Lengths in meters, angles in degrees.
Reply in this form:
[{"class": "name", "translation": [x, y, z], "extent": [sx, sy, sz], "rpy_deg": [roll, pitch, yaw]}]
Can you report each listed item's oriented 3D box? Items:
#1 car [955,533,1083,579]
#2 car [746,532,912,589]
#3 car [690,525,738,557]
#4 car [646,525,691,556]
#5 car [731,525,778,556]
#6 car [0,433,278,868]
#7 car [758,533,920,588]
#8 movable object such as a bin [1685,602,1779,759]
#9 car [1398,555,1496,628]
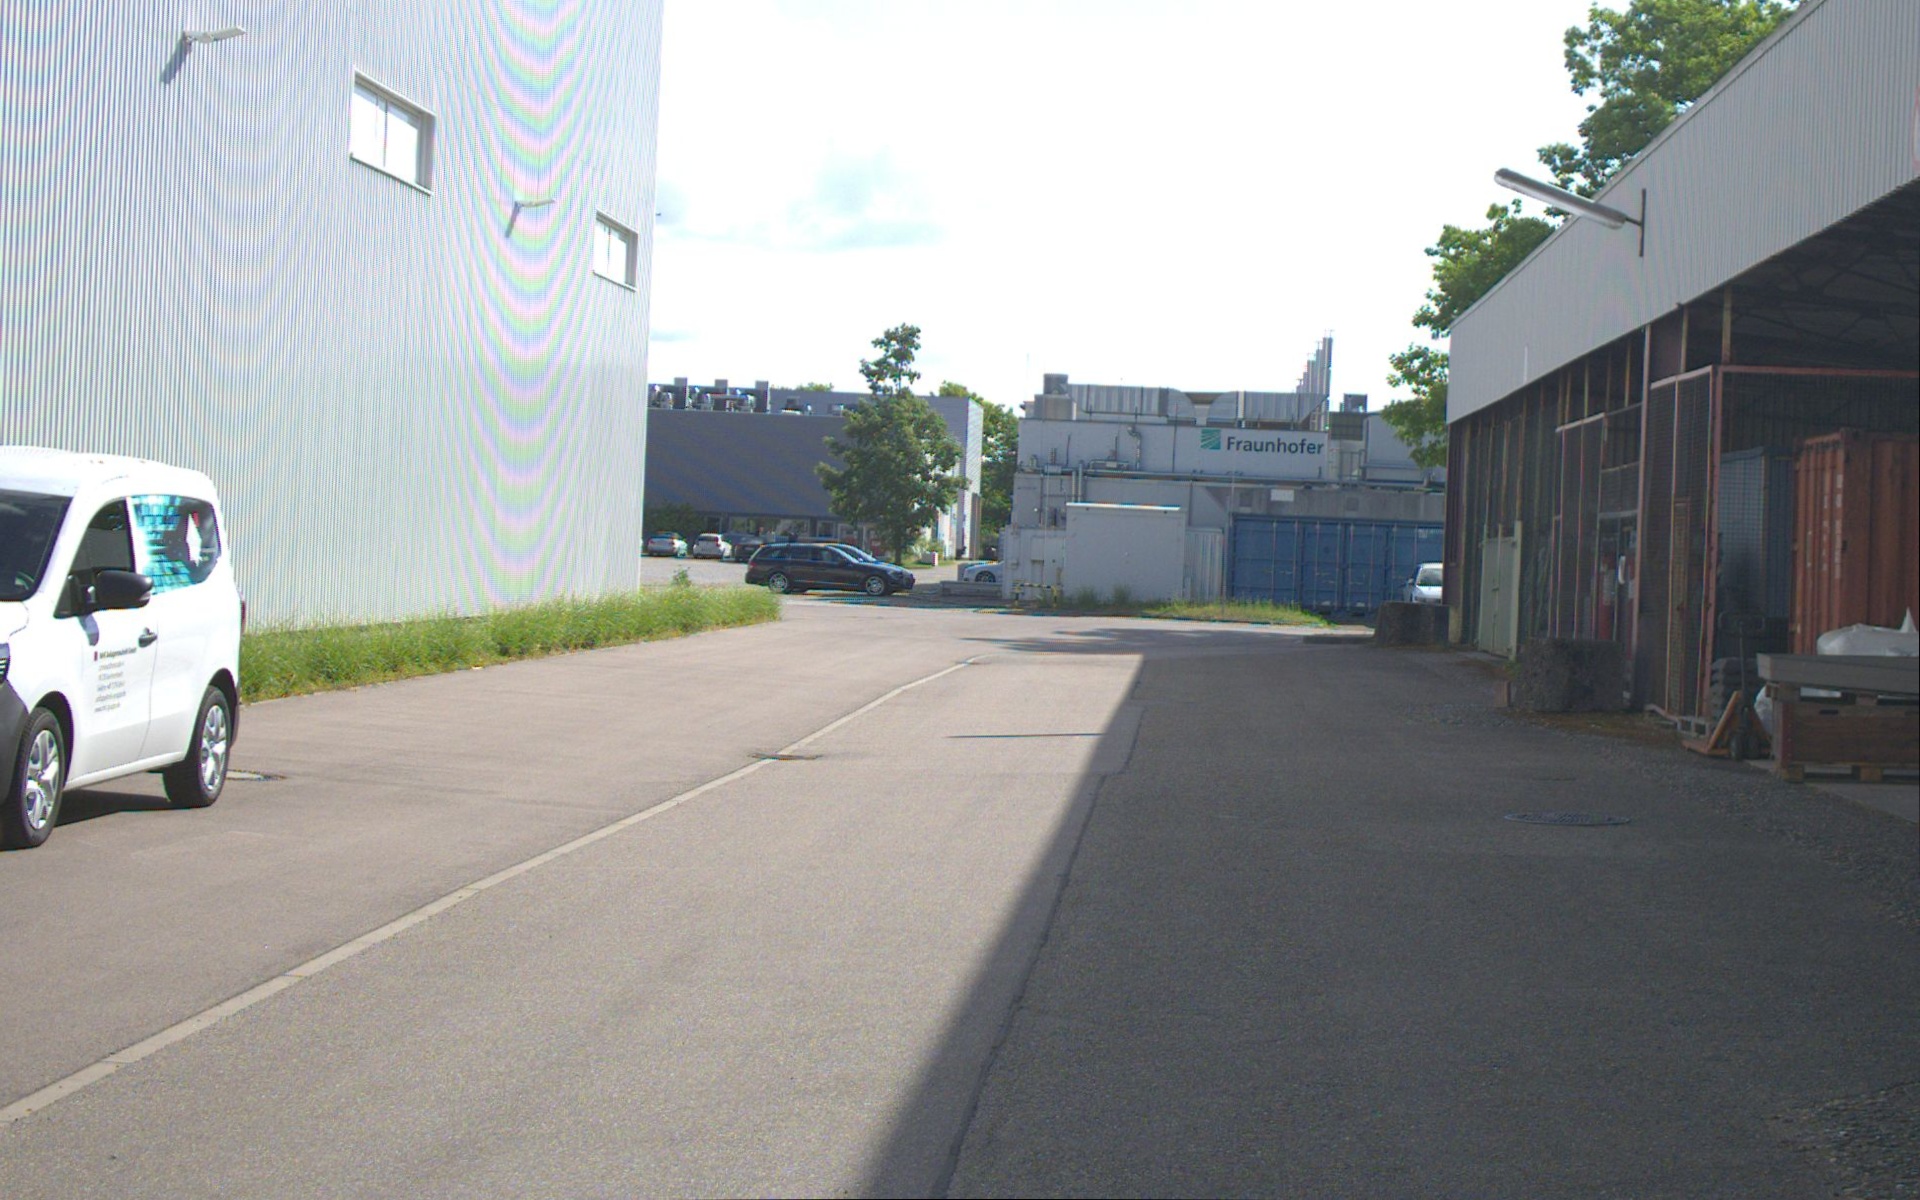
[{"class": "car", "translation": [2.185, -1.629, 126.102], "extent": [4.527, 1.503, 1.908], "rpy_deg": [2, 1, 5]}, {"class": "car", "translation": [-3.754, -1.146, 98.862], "extent": [4.527, 1.503, 1.908], "rpy_deg": [2, 1, 6]}, {"class": "car", "translation": [-14.073, -3.376, 196.940], "extent": [2.194, 1.730, 4.000], "rpy_deg": [1, 0, 3]}, {"class": "car", "translation": [-16.676, -3.377, 196.780], "extent": [1.994, 1.730, 4.000], "rpy_deg": [1, 0, 3]}, {"class": "car", "translation": [-11.633, -3.360, 195.052], "extent": [2.194, 1.730, 4.000], "rpy_deg": [1, 0, 3]}, {"class": "car", "translation": [-4.838, 0.120, 16.569], "extent": [1.891, 1.839, 4.358], "rpy_deg": [4, 1, 3]}, {"class": "car", "translation": [-3.577, -1.172, 102.095], "extent": [4.527, 1.503, 1.908], "rpy_deg": [2, 1, 6]}, {"class": "movable object such as a bin", "translation": [5.998, 0.611, 26.747], "extent": [0.582, 1.160, 1.237], "rpy_deg": [2, 1, 8]}, {"class": "car", "translation": [12.013, -0.228, 84.968], "extent": [1.994, 1.580, 4.172], "rpy_deg": [2, 2, 3]}]
